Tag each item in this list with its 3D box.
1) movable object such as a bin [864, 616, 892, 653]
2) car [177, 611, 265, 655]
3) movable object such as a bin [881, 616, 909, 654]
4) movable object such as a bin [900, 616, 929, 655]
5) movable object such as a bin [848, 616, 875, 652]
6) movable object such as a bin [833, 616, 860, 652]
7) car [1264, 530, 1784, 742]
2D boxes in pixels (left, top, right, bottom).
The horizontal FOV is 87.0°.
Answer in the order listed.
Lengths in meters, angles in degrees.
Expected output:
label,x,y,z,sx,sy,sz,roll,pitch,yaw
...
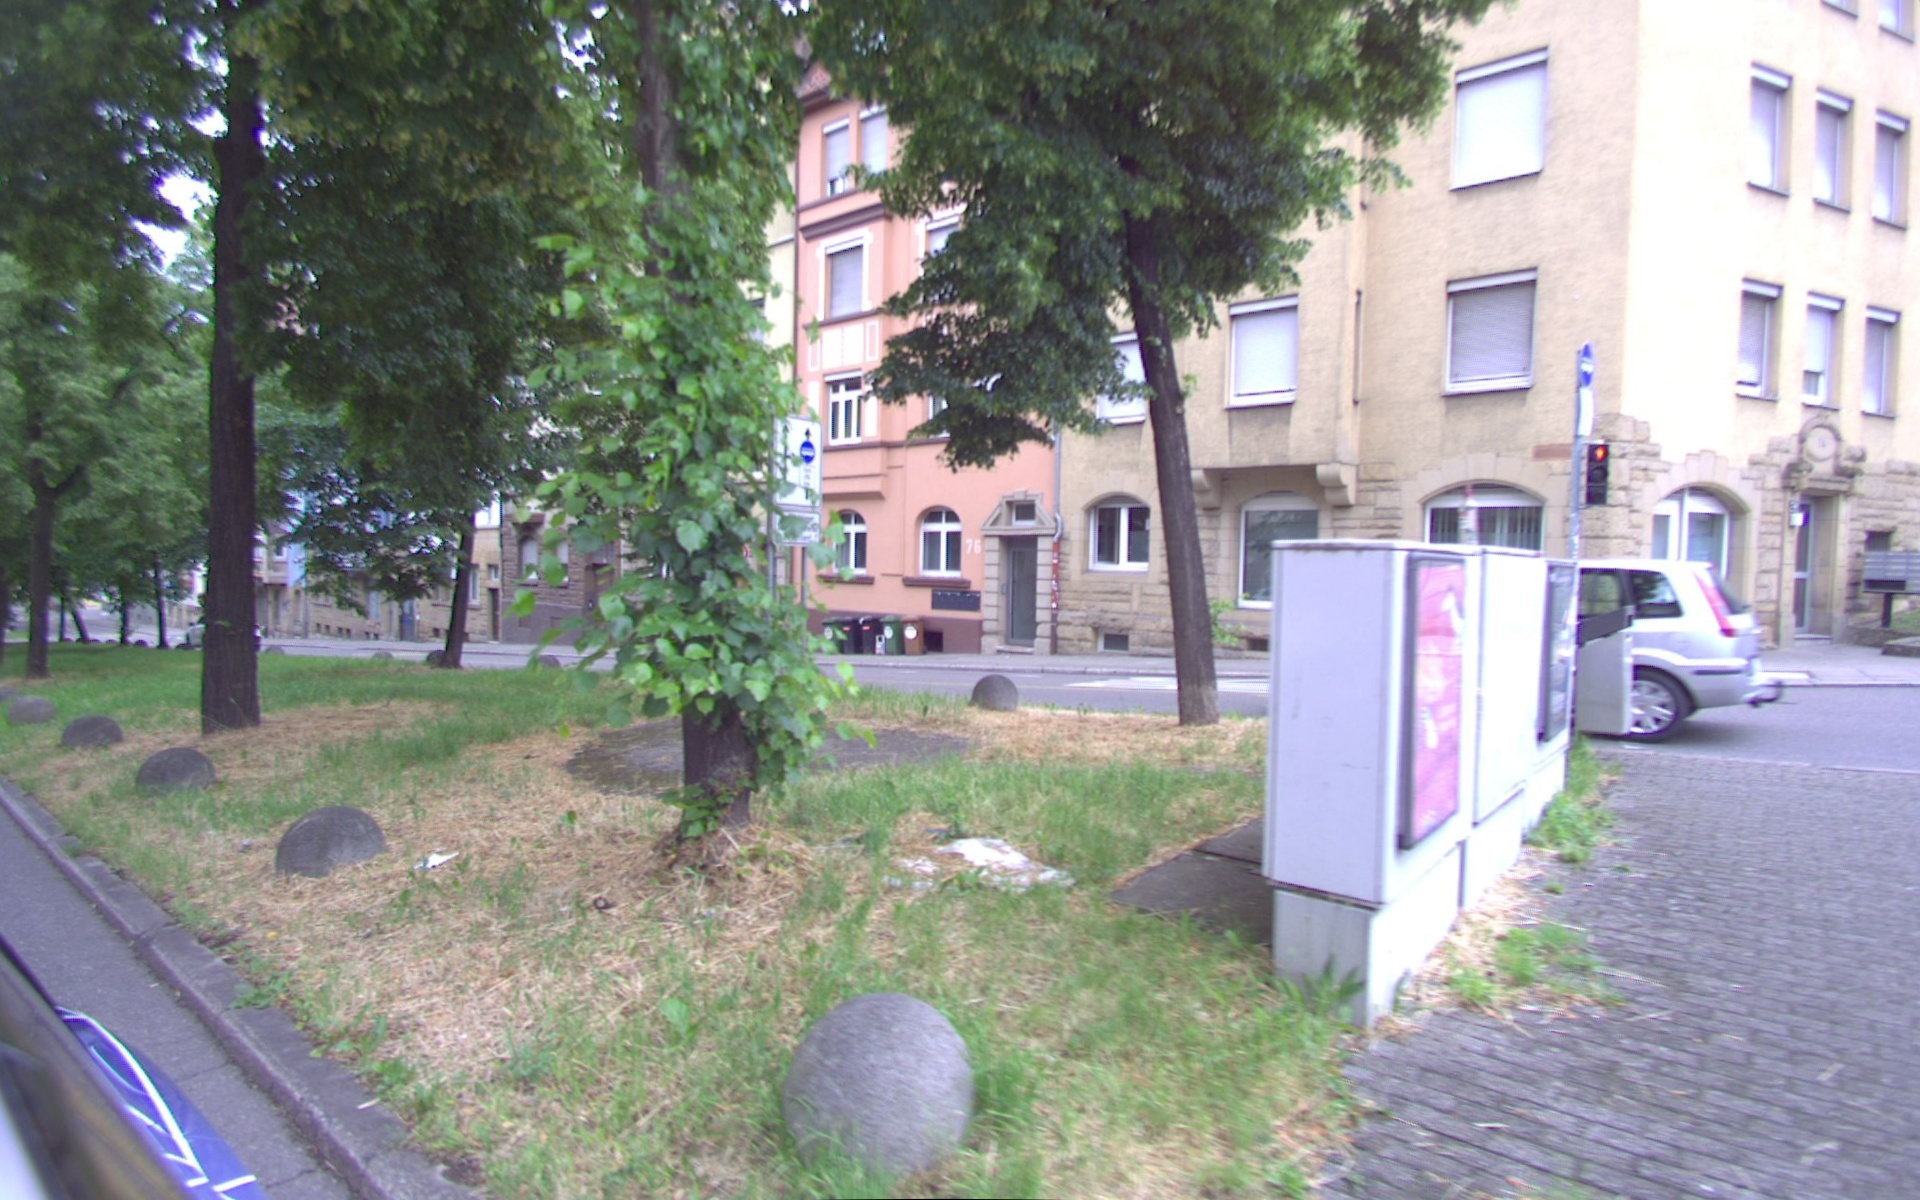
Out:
label,x,y,z,sx,sy,sz,roll,pitch,yaw
movable object such as a bin,-1.958,0.814,24.252,0.480,0.871,0.449,-1,0,-43
car,-30.399,1.326,41.586,4.516,1.646,1.917,-1,1,41
movable object such as a bin,-1.531,0.809,23.814,0.480,0.871,0.449,-1,0,-43
movable object such as a bin,-1.046,0.803,23.287,0.480,0.871,0.449,-1,0,-43
movable object such as a bin,-2.392,0.820,24.601,0.480,0.871,0.449,-1,0,-43
movable object such as a bin,-2.796,0.825,25.010,0.480,0.871,0.449,-1,0,-43
car,5.076,0.277,9.414,3.958,1.563,1.700,-1,0,41
